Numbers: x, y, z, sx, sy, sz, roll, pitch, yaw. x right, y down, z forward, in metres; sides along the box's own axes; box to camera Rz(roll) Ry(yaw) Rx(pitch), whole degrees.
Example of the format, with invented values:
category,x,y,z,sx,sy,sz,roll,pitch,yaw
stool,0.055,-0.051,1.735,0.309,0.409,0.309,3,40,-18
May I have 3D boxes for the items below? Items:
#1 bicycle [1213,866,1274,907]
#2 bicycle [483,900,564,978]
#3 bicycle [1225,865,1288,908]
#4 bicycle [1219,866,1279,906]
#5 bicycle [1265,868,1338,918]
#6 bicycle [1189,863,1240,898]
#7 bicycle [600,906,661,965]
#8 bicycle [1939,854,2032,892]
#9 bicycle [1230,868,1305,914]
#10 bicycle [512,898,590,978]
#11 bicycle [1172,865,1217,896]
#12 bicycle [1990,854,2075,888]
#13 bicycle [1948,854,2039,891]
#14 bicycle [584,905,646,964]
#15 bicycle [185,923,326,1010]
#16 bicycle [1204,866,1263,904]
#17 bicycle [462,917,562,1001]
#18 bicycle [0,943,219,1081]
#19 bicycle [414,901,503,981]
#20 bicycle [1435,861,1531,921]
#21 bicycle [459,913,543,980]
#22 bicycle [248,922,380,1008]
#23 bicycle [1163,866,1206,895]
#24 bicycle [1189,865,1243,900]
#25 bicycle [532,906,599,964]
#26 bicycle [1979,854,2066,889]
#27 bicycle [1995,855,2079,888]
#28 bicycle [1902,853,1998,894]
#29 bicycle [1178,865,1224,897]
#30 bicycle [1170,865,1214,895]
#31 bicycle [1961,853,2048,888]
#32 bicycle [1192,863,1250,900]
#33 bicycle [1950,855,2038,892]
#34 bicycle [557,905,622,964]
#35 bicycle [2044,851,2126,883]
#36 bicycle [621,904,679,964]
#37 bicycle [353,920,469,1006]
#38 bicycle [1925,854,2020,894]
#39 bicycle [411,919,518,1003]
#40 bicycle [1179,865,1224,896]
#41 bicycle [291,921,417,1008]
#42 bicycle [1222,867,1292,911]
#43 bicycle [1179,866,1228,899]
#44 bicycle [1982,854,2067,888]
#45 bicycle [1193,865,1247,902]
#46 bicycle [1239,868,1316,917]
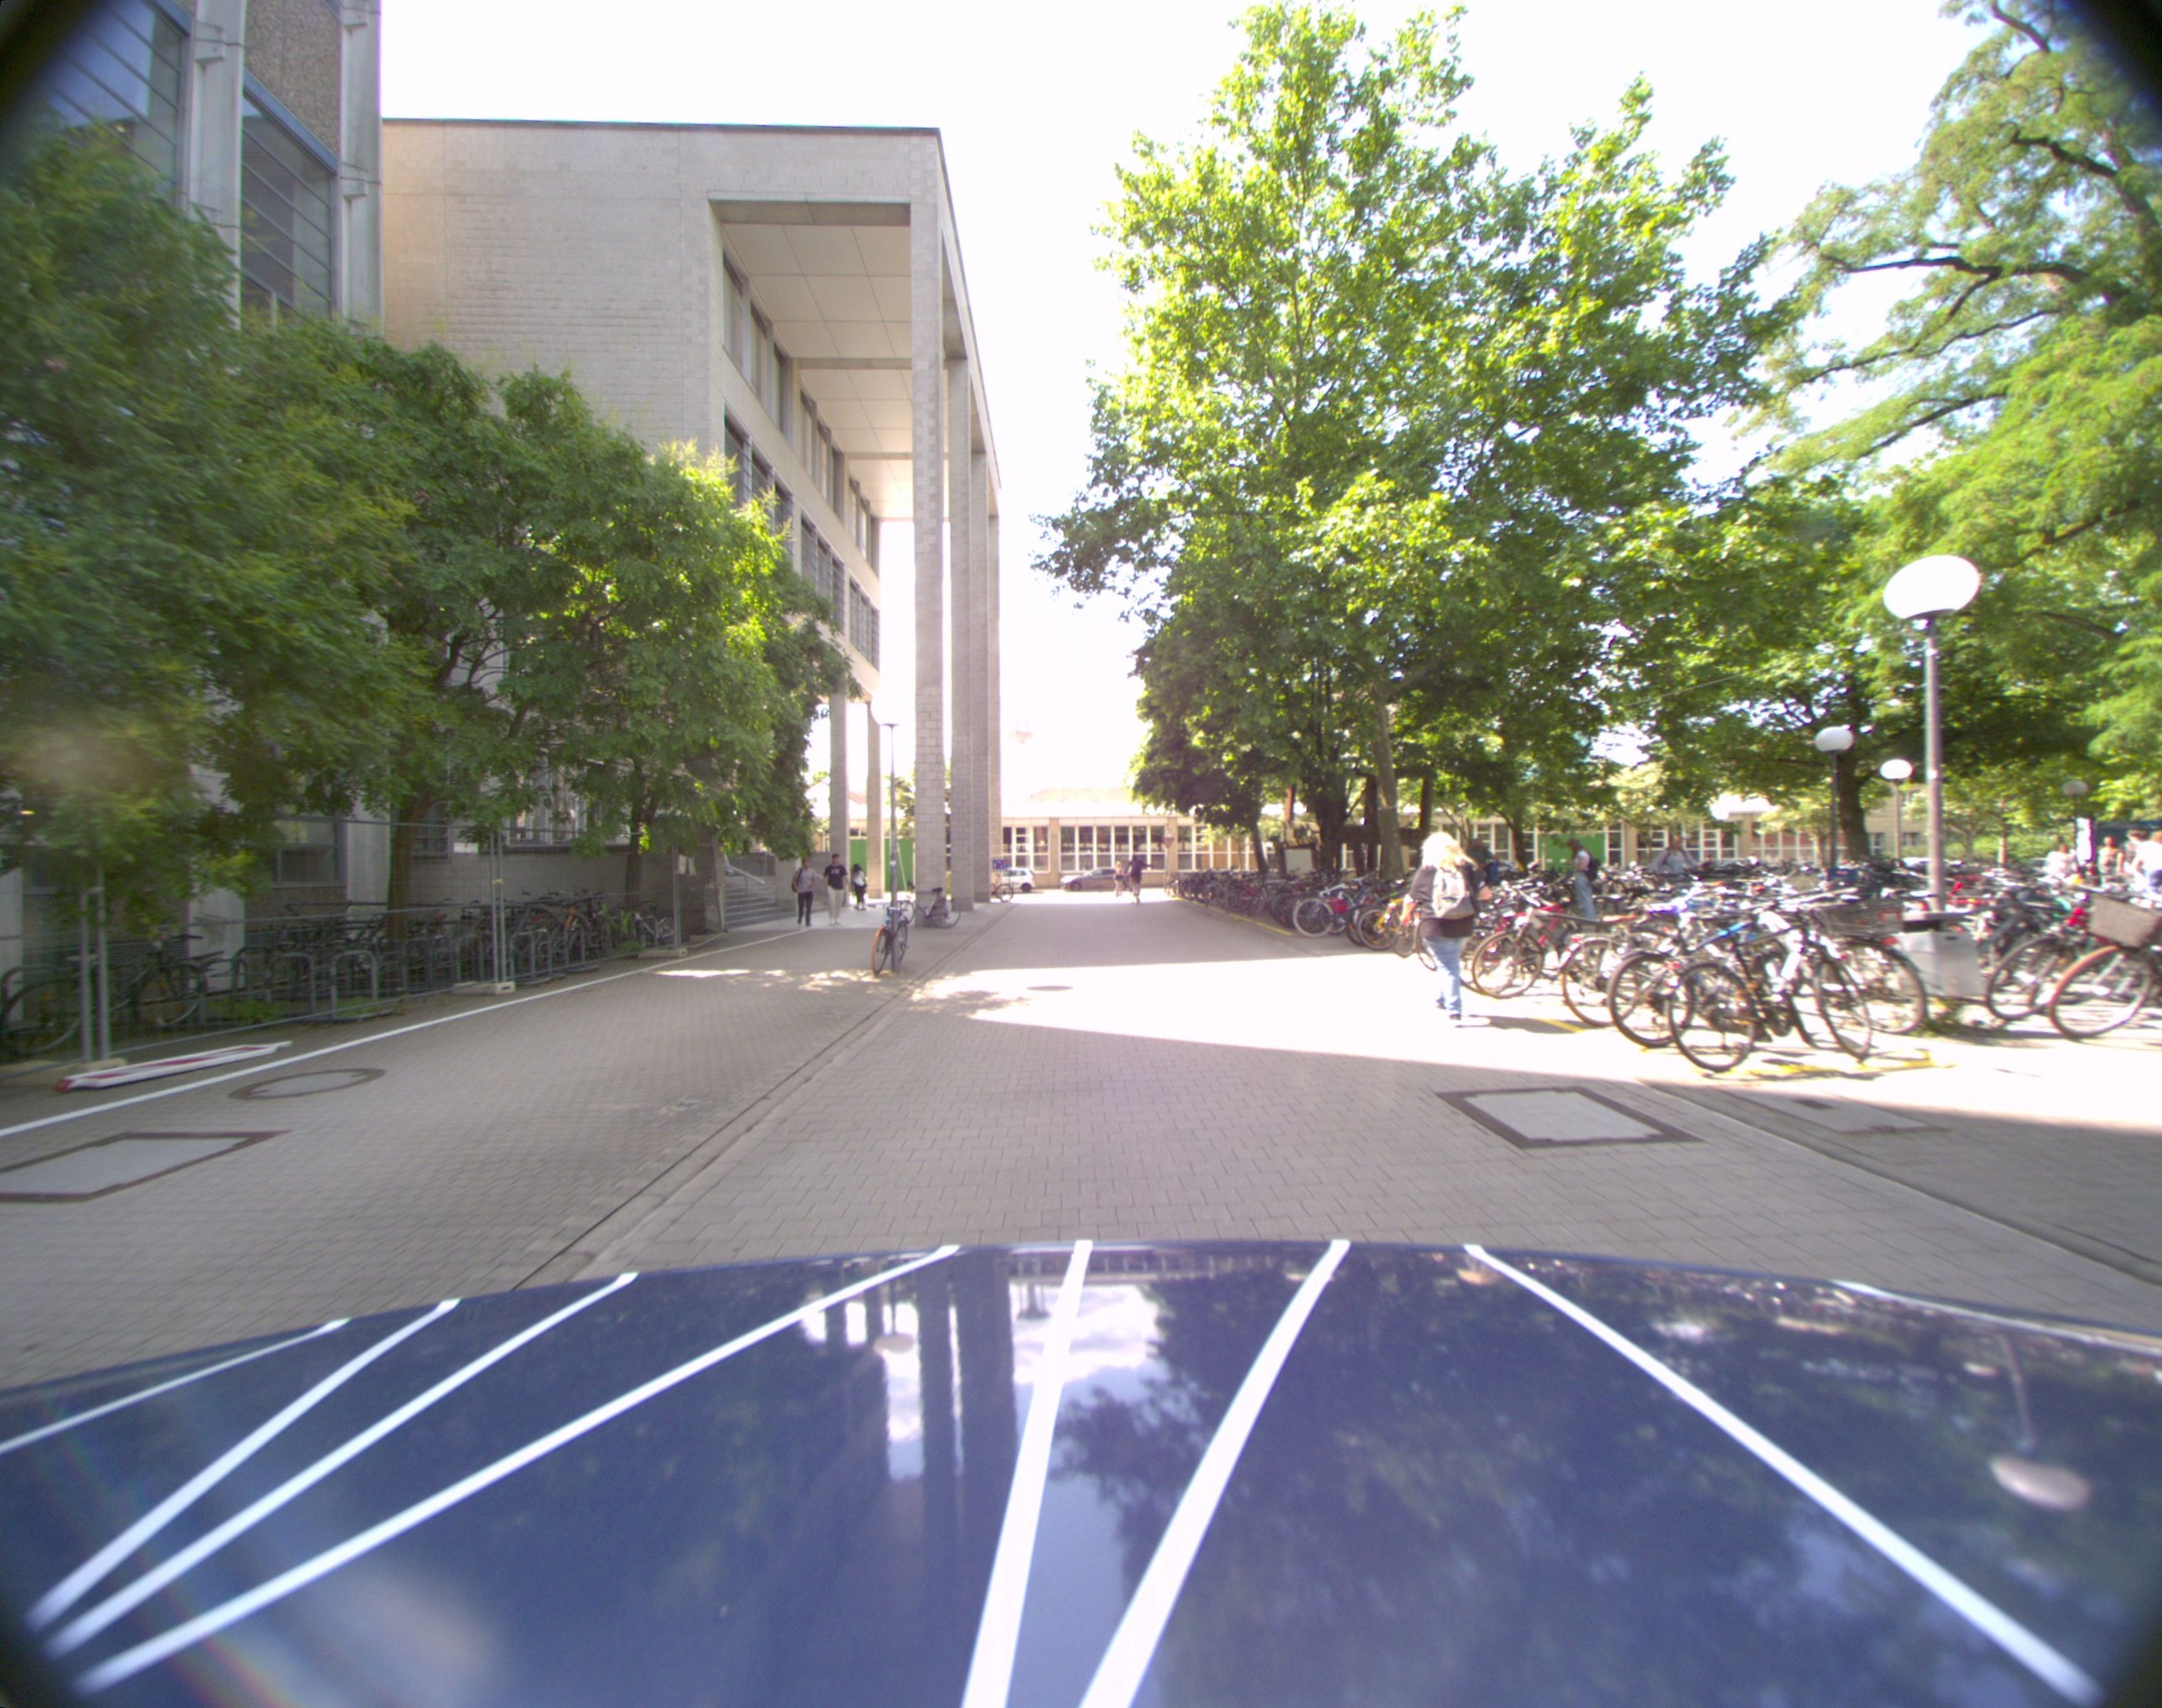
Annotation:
category,x,y,z,sx,sy,sz,roll,pitch,yaw
bicycle,4.597,0.925,21.457,1.627,1.101,0.497,-2,0,13
bicycle,-8.741,1.301,11.965,0.291,1.087,1.447,-1,0,-4
bicycle,4.812,0.895,20.850,1.627,1.137,0.497,-2,0,13
bicycle,4.865,0.932,21.998,1.627,1.101,0.563,-2,0,13
bicycle,5.240,0.908,18.059,1.743,1.101,0.496,-2,0,-25
bicycle,4.623,0.924,26.358,1.628,1.144,0.497,-2,0,-1
bicycle,-7.905,1.406,13.390,0.291,0.900,1.447,-1,0,-4
bicycle,26.456,0.547,22.255,0.475,1.077,1.696,-2,0,-30
bicycle,4.730,0.935,19.322,1.739,1.101,0.497,-2,0,-1
bicycle,-8.349,1.294,12.023,0.291,1.121,1.447,-1,0,-4
bicycle,4.314,1.016,28.976,1.628,1.101,0.629,-2,0,3
bicycle,31.702,0.558,25.338,0.475,1.077,1.696,-2,0,-30
bicycle,27.619,0.555,23.017,0.475,1.077,1.696,-2,0,-30
bicycle,-8.259,1.411,13.521,0.291,0.900,1.447,-1,0,-4
bicycle,-10.471,1.390,9.698,0.291,0.900,1.447,-1,0,-4
bicycle,4.692,0.944,23.500,1.724,1.101,0.719,-2,0,10
bicycle,-7.410,1.337,9.959,0.291,0.900,1.447,-1,0,-4
bicycle,-8.793,1.346,6.822,0.291,0.900,1.804,-1,0,-9
bicycle,-9.736,1.331,11.938,0.291,1.092,1.447,-1,0,-4
bicycle,8.559,0.766,16.220,0.577,1.192,1.695,-2,0,-40
bicycle,-9.089,1.418,11.951,0.291,0.882,1.447,-1,0,-4
bicycle,-9.728,1.373,9.695,0.291,0.900,1.447,-1,0,-4
bicycle,4.096,1.056,30.106,1.628,1.101,0.497,-2,0,4
bicycle,4.533,0.952,25.588,1.629,1.101,0.645,-2,0,-6
bicycle,-9.130,1.413,13.514,0.291,0.900,1.447,-1,0,-4
bicycle,30.320,0.569,24.506,0.475,1.077,1.696,-2,0,-30
bicycle,32.219,0.584,25.637,0.475,1.077,1.696,-2,0,-30
bicycle,24.371,0.538,21.344,0.475,1.077,1.696,-2,0,-30
bicycle,4.389,0.991,27.859,1.628,1.101,0.497,-2,0,4
bicycle,4.304,1.012,29.539,1.628,1.101,0.497,-2,0,4
bicycle,29.305,0.524,24.136,0.475,1.077,1.696,-2,0,-30
bicycle,4.589,0.892,24.954,1.785,1.155,0.497,-2,0,-6
bicycle,28.375,0.599,23.645,0.475,1.077,1.696,-2,0,-30
bicycle,-8.721,1.411,13.529,0.291,0.900,1.447,-1,0,-4
bicycle,35.554,0.455,26.940,0.475,1.077,1.696,-2,0,-30
bicycle,-7.567,1.382,13.386,0.291,0.900,1.447,-1,0,-4
bicycle,-8.545,1.354,9.755,0.291,0.900,1.447,-1,0,-4
bicycle,25.364,0.559,21.653,0.475,1.077,1.696,-2,0,-30
bicycle,-7.945,1.346,9.856,0.291,0.900,1.447,-1,0,-4
bicycle,4.497,0.994,28.409,1.628,1.101,0.506,-2,0,4
bicycle,-9.220,1.370,9.701,0.291,0.900,1.447,-1,0,-4
bicycle,4.682,0.931,20.194,1.737,1.101,0.575,-2,0,18
bicycle,4.361,1.023,27.138,1.628,1.101,0.691,-2,0,4
bicycle,31.213,0.561,25.163,0.475,1.077,1.696,-2,0,-30
bicycle,4.471,0.942,24.456,1.629,1.101,0.497,-2,0,-6
bicycle,4.827,0.929,18.704,1.740,1.119,0.497,-2,0,-5
